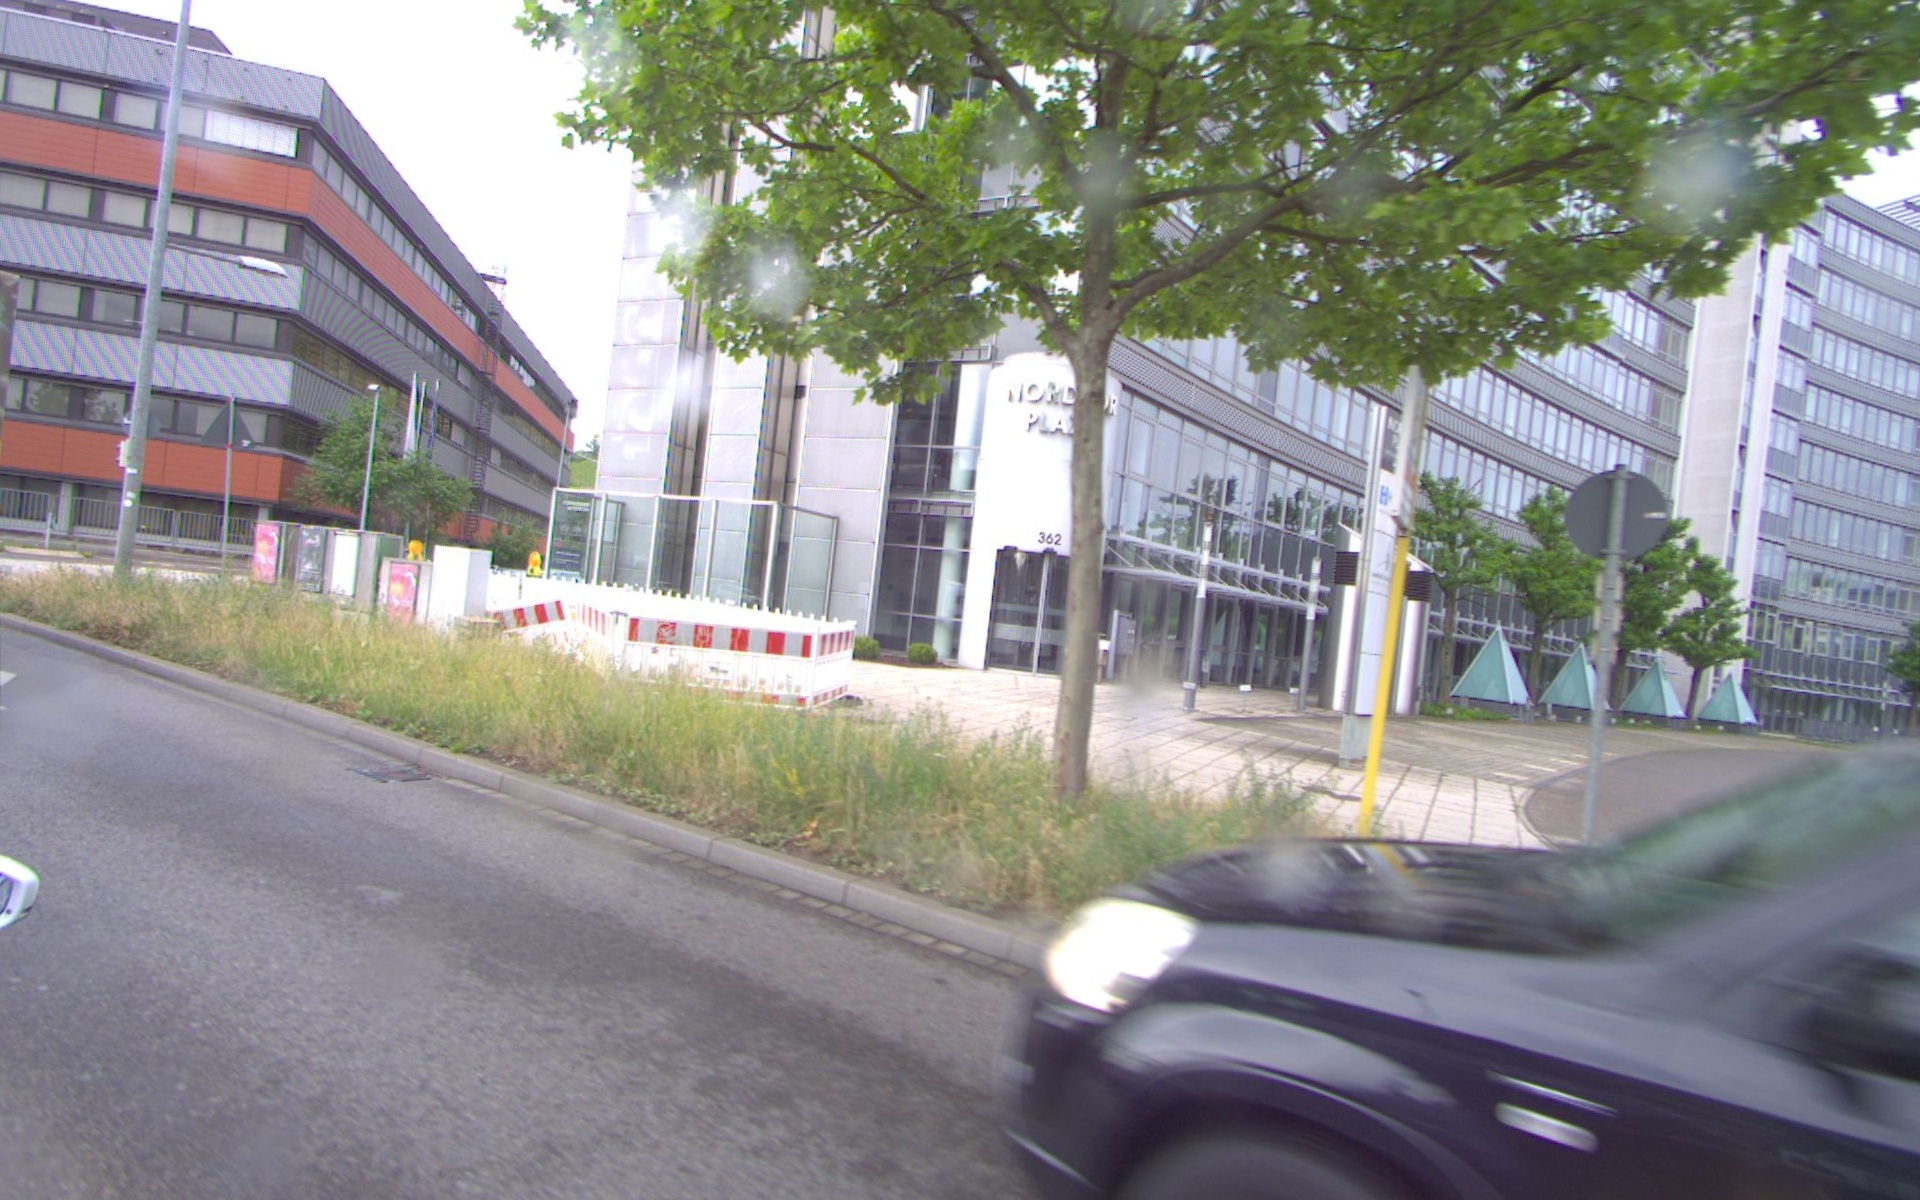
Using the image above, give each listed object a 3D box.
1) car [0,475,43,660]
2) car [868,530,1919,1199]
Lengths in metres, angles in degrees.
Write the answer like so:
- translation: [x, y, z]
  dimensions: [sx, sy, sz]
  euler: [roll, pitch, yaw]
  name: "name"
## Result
- translation: [-10.774, -0.513, 9.500]
  dimensions: [3.932, 1.675, 1.833]
  euler: [5, -2, 29]
  name: "car"
- translation: [2.122, 0.948, 1.774]
  dimensions: [4.254, 1.648, 1.769]
  euler: [6, -3, 32]
  name: "car"
